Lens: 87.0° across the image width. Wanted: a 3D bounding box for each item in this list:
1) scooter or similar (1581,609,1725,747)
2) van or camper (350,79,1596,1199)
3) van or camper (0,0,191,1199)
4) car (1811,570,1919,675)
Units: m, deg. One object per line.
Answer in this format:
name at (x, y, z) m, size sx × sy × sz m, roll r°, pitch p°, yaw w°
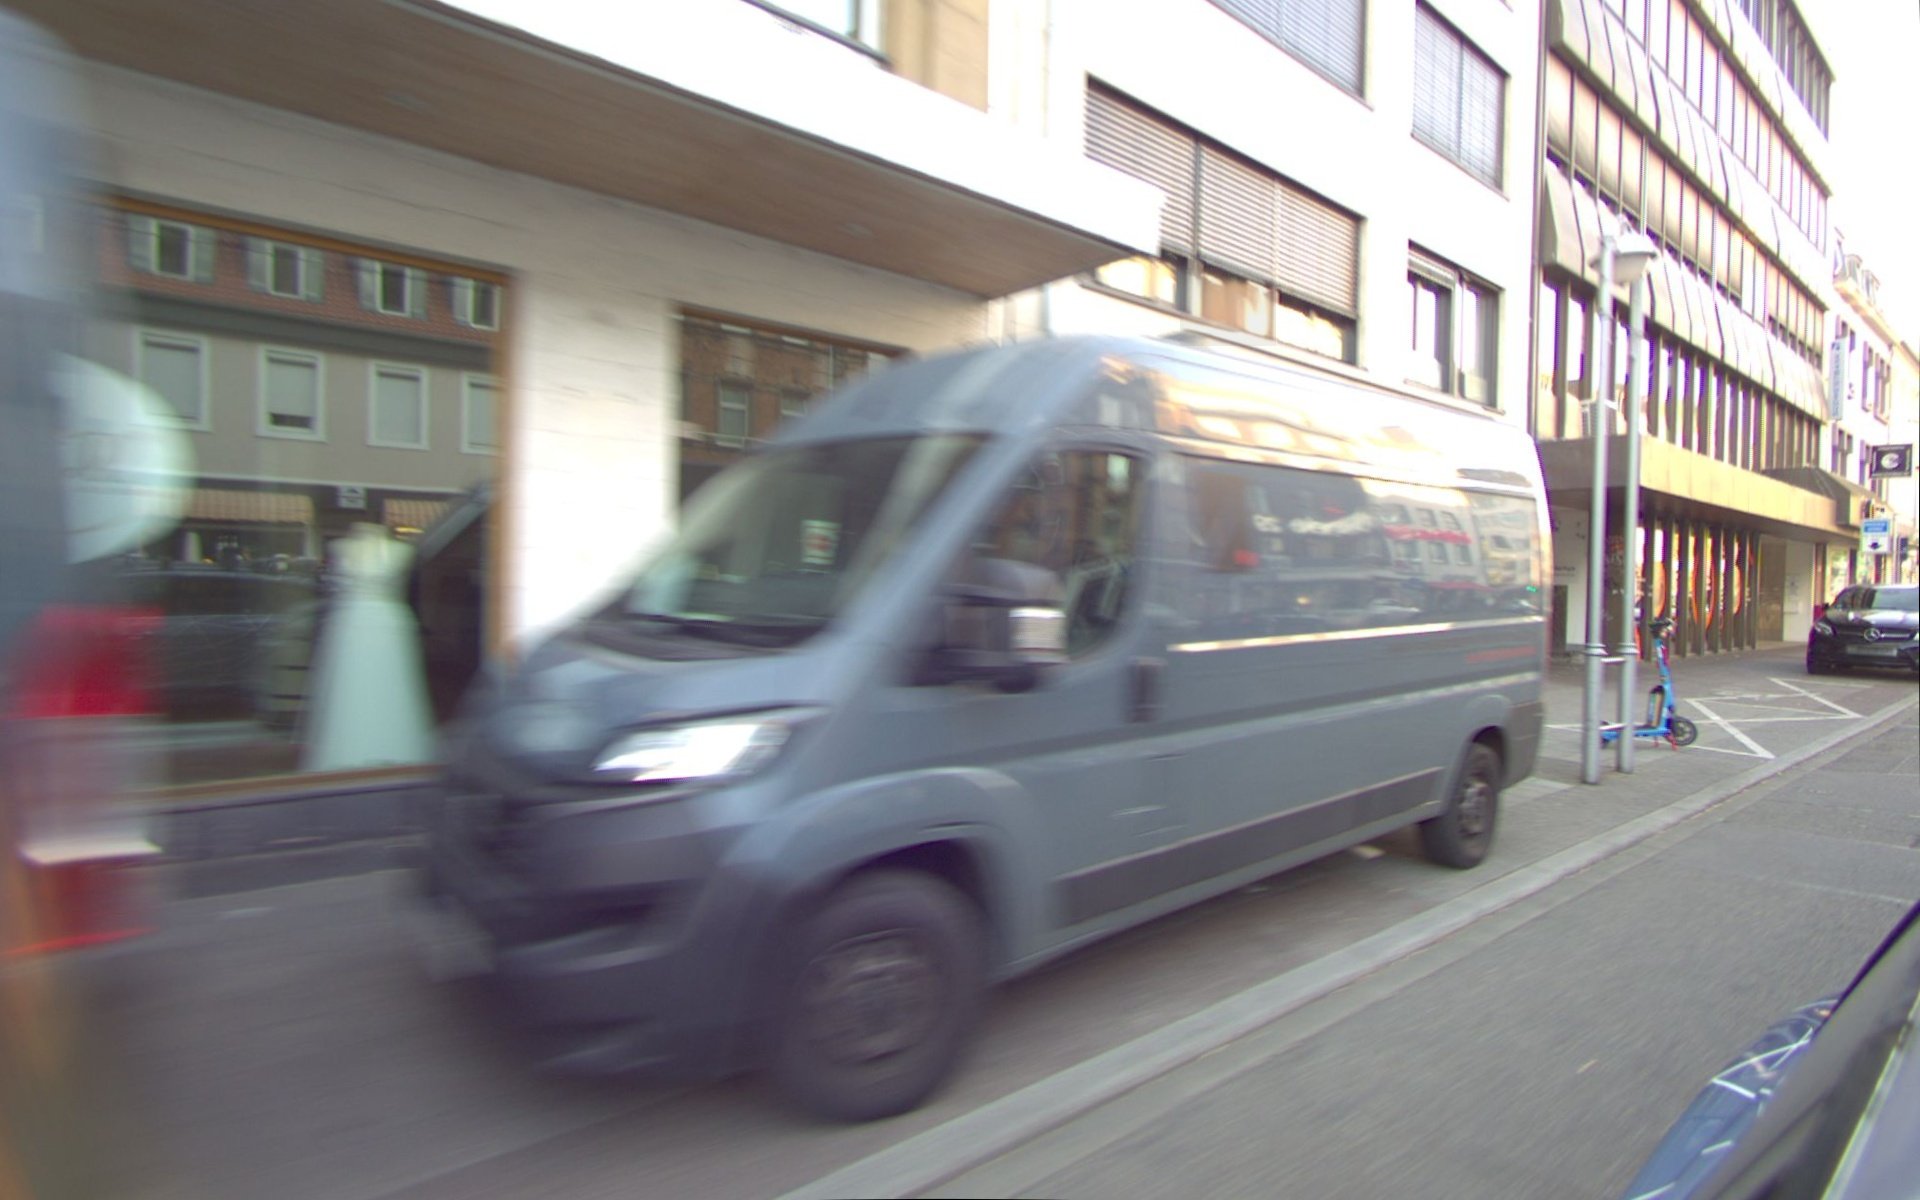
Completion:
scooter or similar at (6.574, 0.737, 9.612) m, size 1.093 × 1.238 × 0.356 m, roll 2°, pitch 3°, yaw -7°
van or camper at (0.728, 0.086, 4.892) m, size 6.025 × 2.455 × 2.194 m, roll 0°, pitch 4°, yaw -41°
van or camper at (-4.046, 0.134, 0.734) m, size 5.422 × 2.455 × 2.193 m, roll 0°, pitch 4°, yaw -42°
car at (18.024, 0.376, 19.207) m, size 4.587 × 1.755 × 1.989 m, roll 0°, pitch 4°, yaw -40°
